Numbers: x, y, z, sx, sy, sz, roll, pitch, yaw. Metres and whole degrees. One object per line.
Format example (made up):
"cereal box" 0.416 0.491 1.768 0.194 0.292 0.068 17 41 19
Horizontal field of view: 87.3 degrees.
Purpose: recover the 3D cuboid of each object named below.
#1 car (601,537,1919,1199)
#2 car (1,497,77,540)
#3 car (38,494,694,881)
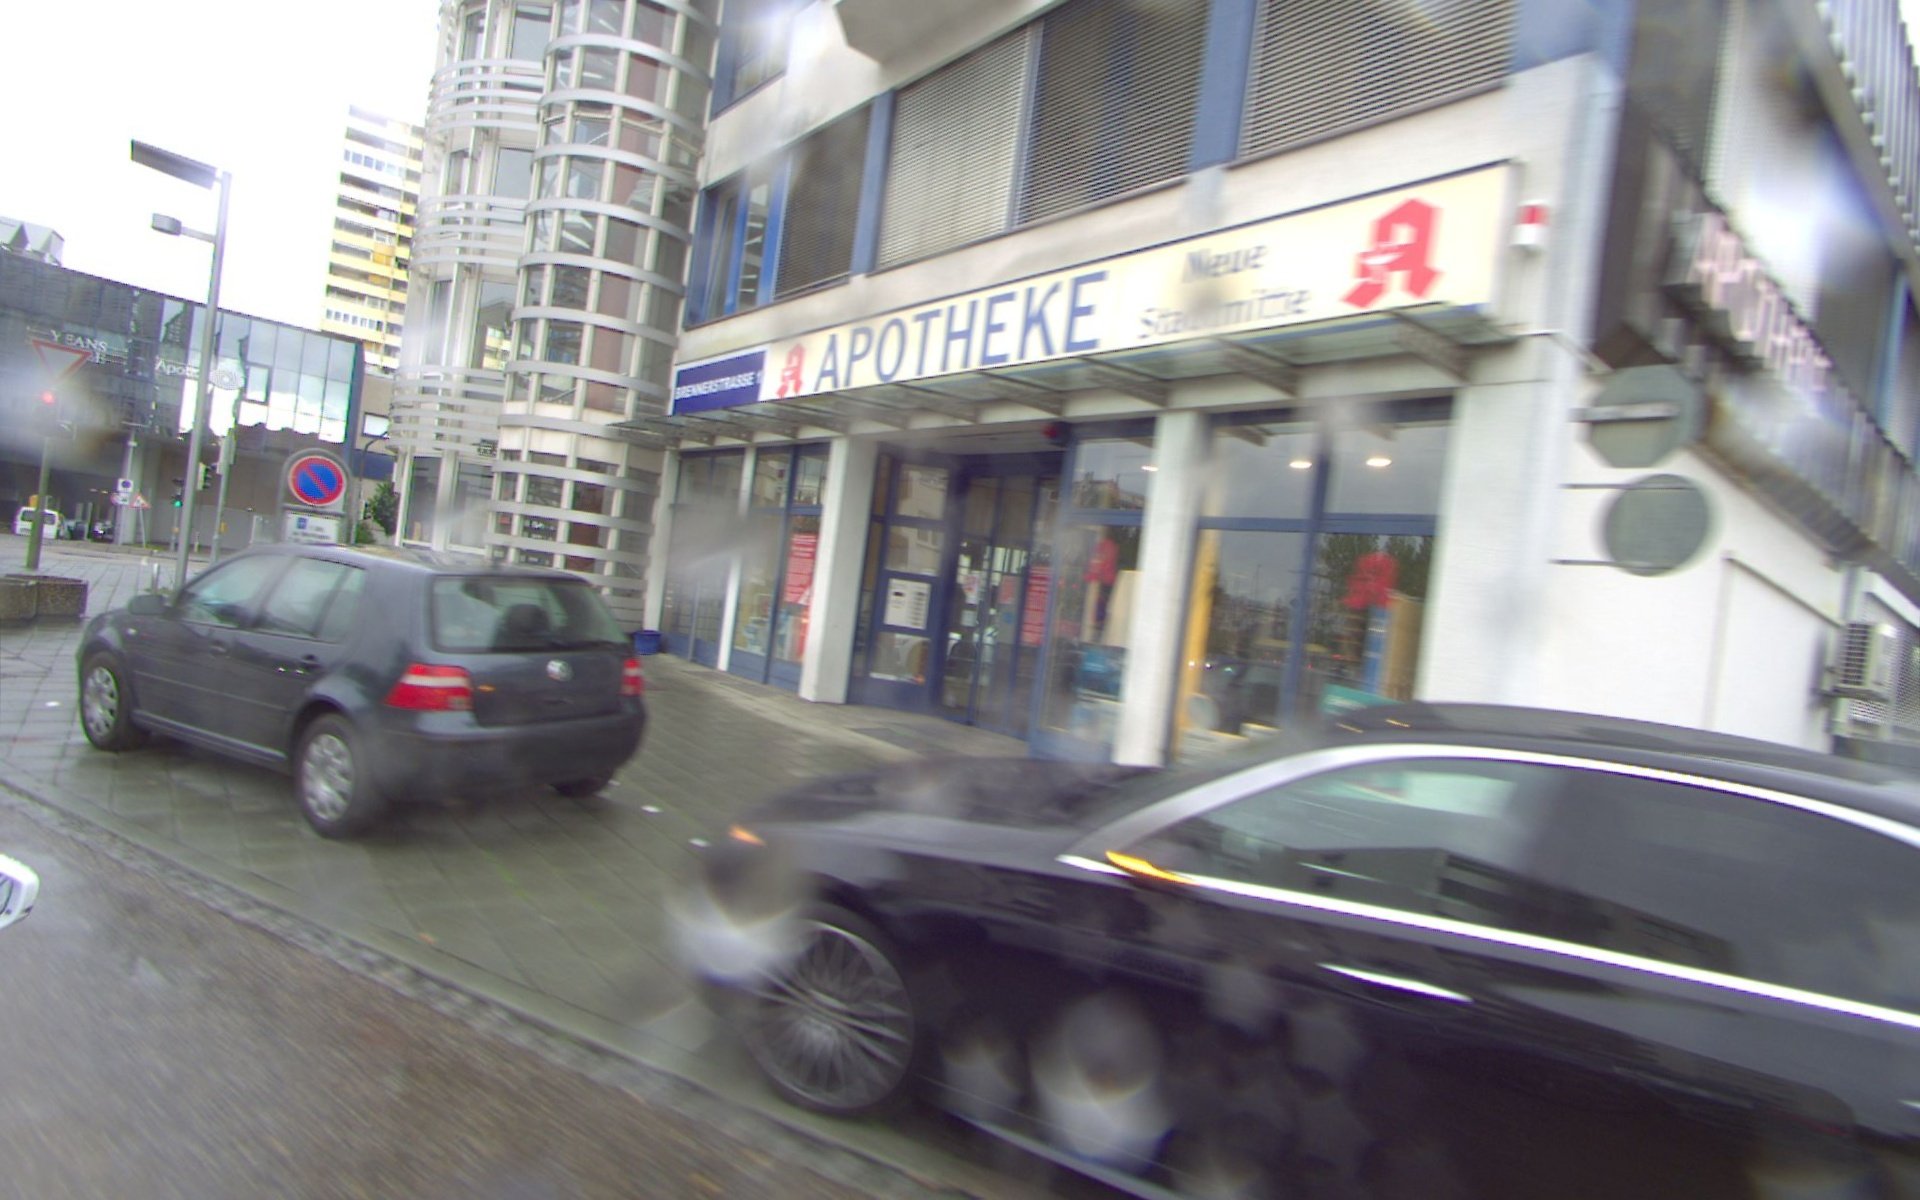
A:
"car" 1.381 0.935 3.038 4.567 1.551 1.998 8 -1 29
"car" -44.387 -3.927 48.570 1.981 1.738 3.962 7 0 -34
"car" -3.764 0.321 6.230 3.931 1.506 1.699 8 3 29
